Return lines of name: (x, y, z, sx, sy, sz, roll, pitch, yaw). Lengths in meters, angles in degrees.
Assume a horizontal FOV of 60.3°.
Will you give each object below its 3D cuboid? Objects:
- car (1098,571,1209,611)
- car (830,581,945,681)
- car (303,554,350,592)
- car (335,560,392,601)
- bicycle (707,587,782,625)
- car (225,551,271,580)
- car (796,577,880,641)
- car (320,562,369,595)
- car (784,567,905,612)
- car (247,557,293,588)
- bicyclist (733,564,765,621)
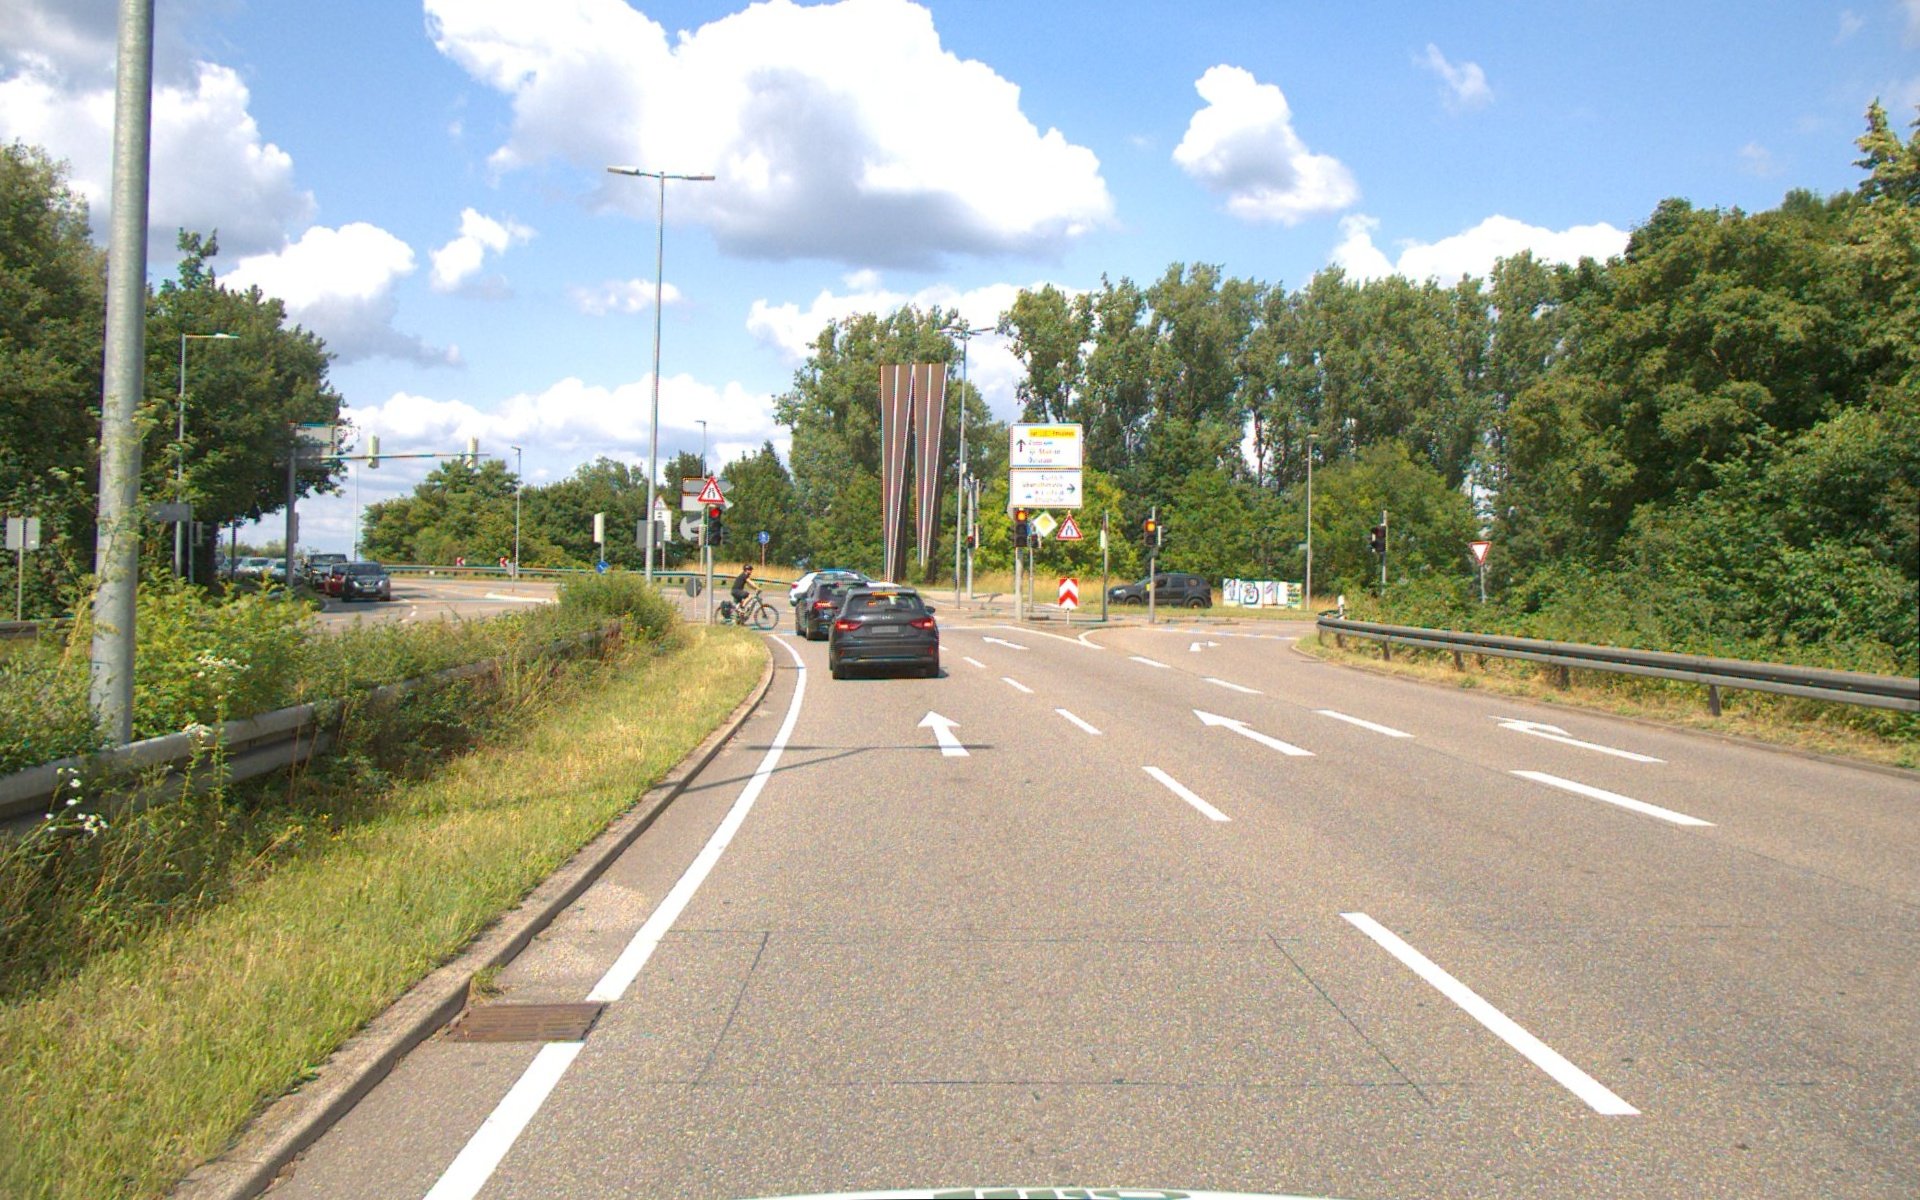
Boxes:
car: (7.818, -0.363, 67.055, 4.187, 1.572, 1.734, 0, 1, -7)
car: (-1.259, 0.449, 27.191, 1.692, 1.428, 3.997, -2, 1, -5)
car: (-31.646, -1.371, 82.567, 1.821, 1.833, 4.290, 0, 1, -26)
car: (-25.033, -0.806, 69.348, 1.816, 1.646, 3.966, 0, 0, -26)
bicycle: (-6.076, 0.167, 46.692, 2.019, 1.041, 0.669, 1, 0, -16)
car: (-43.992, -2.118, 102.116, 1.827, 1.735, 4.275, 0, 1, -34)
car: (-3.089, 0.185, 41.184, 1.695, 1.448, 3.836, -2, 1, -10)
car: (-28.519, -1.000, 76.559, 1.710, 1.502, 4.012, 0, 1, -26)
car: (-4.061, -0.366, 58.378, 3.947, 1.502, 1.738, 1, 0, 7)
car: (-39.975, -1.574, 95.789, 1.825, 1.735, 4.281, 0, 1, -31)
bicyclist: (-5.961, -0.215, 46.724, 0.820, 1.587, 0.669, 1, 0, -16)
